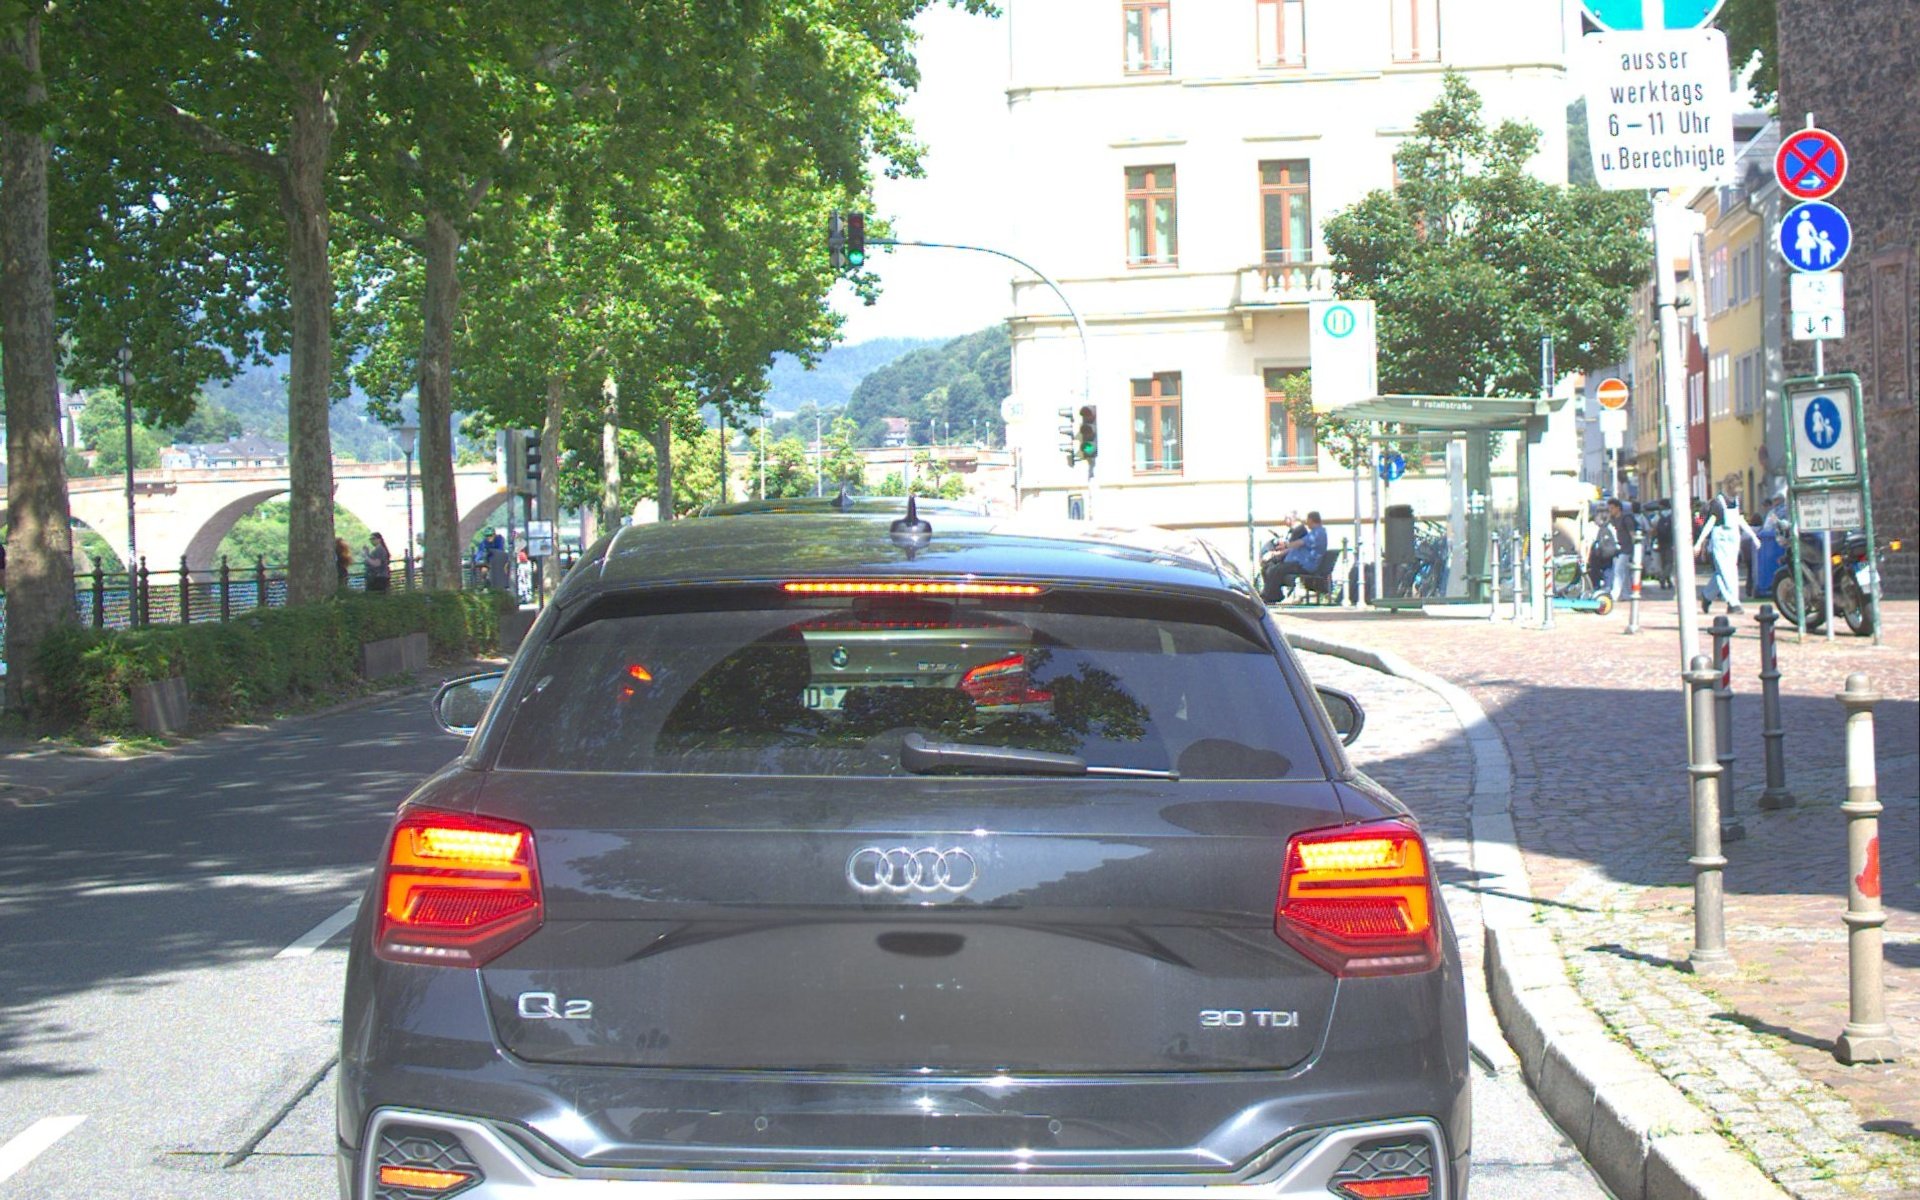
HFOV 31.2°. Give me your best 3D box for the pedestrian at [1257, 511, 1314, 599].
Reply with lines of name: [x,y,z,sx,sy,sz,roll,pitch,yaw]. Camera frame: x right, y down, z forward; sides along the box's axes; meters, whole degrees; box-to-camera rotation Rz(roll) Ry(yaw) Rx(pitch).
pedestrian: [4.627,-0.639,48.896,0.663,1.227,0.641,1,0,-6]

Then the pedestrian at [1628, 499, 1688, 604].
pedestrian: [13.475,-0.938,66.381,0.940,2.007,0.807,1,0,-1]

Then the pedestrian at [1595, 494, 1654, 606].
pedestrian: [11.433,-0.860,59.168,0.748,1.884,0.751,-2,1,28]

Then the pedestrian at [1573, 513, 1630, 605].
pedestrian: [10.298,-0.659,55.225,0.638,1.439,0.799,-2,1,-7]

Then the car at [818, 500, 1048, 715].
car: [-0.235,0.016,29.120,1.794,1.676,4.000,1,1,-1]

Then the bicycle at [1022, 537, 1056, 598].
bicycle: [1.440,-0.590,62.617,0.437,1.082,1.677,1,0,-5]

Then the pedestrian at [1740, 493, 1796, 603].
pedestrian: [14.893,-0.965,63.398,0.839,2.007,0.738,1,0,0]

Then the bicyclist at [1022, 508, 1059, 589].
bicyclist: [1.464,-0.937,62.581,0.605,1.445,0.591,1,0,-5]

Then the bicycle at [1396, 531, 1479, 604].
bicycle: [6.806,-0.465,49.013,1.201,1.031,0.179,1,0,-19]

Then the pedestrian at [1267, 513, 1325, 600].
pedestrian: [4.706,-0.606,48.162,0.663,1.207,0.641,1,0,-6]

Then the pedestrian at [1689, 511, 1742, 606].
pedestrian: [13.134,-0.726,59.737,0.692,1.607,0.890,-2,1,23]

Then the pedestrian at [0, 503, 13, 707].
pedestrian: [-9.145,0.040,32.002,0.534,1.880,0.436,0,1,-1]

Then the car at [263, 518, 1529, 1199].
car: [-0.115,0.612,6.602,1.743,1.504,3.647,1,1,-1]

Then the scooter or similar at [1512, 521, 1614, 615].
scooter or similar: [6.915,-0.365,39.433,1.088,1.062,0.323,1,0,-2]

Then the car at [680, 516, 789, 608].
car: [-4.437,-0.774,68.069,1.769,1.654,4.000,-3,1,1]

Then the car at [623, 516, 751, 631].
car: [-4.305,-0.454,54.747,1.673,1.654,4.223,-4,1,-1]

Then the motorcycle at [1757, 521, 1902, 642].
motorcycle: [7.600,-0.184,30.156,0.566,1.009,2.490,-1,1,-2]

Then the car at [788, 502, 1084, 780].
car: [-0.161,0.199,21.754,1.710,1.603,3.655,0,1,-1]

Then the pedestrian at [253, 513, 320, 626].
pedestrian: [-10.857,-0.486,55.469,0.911,1.805,0.585,1,-1,4]

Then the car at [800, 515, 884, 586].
car: [-3.089,-1.298,90.492,1.993,1.800,4.000,1,0,1]

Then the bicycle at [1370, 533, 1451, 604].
bicycle: [6.503,-0.449,49.626,1.184,1.012,0.179,1,0,-19]

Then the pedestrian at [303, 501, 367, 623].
pedestrian: [-10.373,-0.628,57.089,0.911,2.007,0.585,1,0,4]

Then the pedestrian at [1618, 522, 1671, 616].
pedestrian: [14.772,-0.674,74.197,0.944,2.007,0.807,1,0,0]

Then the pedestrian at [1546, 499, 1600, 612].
pedestrian: [7.580,-0.551,42.513,0.557,1.380,0.588,1,0,2]

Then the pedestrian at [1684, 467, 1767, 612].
pedestrian: [8.916,-0.706,40.038,0.808,1.656,0.655,-1,1,22]

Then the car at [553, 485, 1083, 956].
car: [-0.507,0.377,13.474,1.793,1.589,3.399,1,1,-1]
